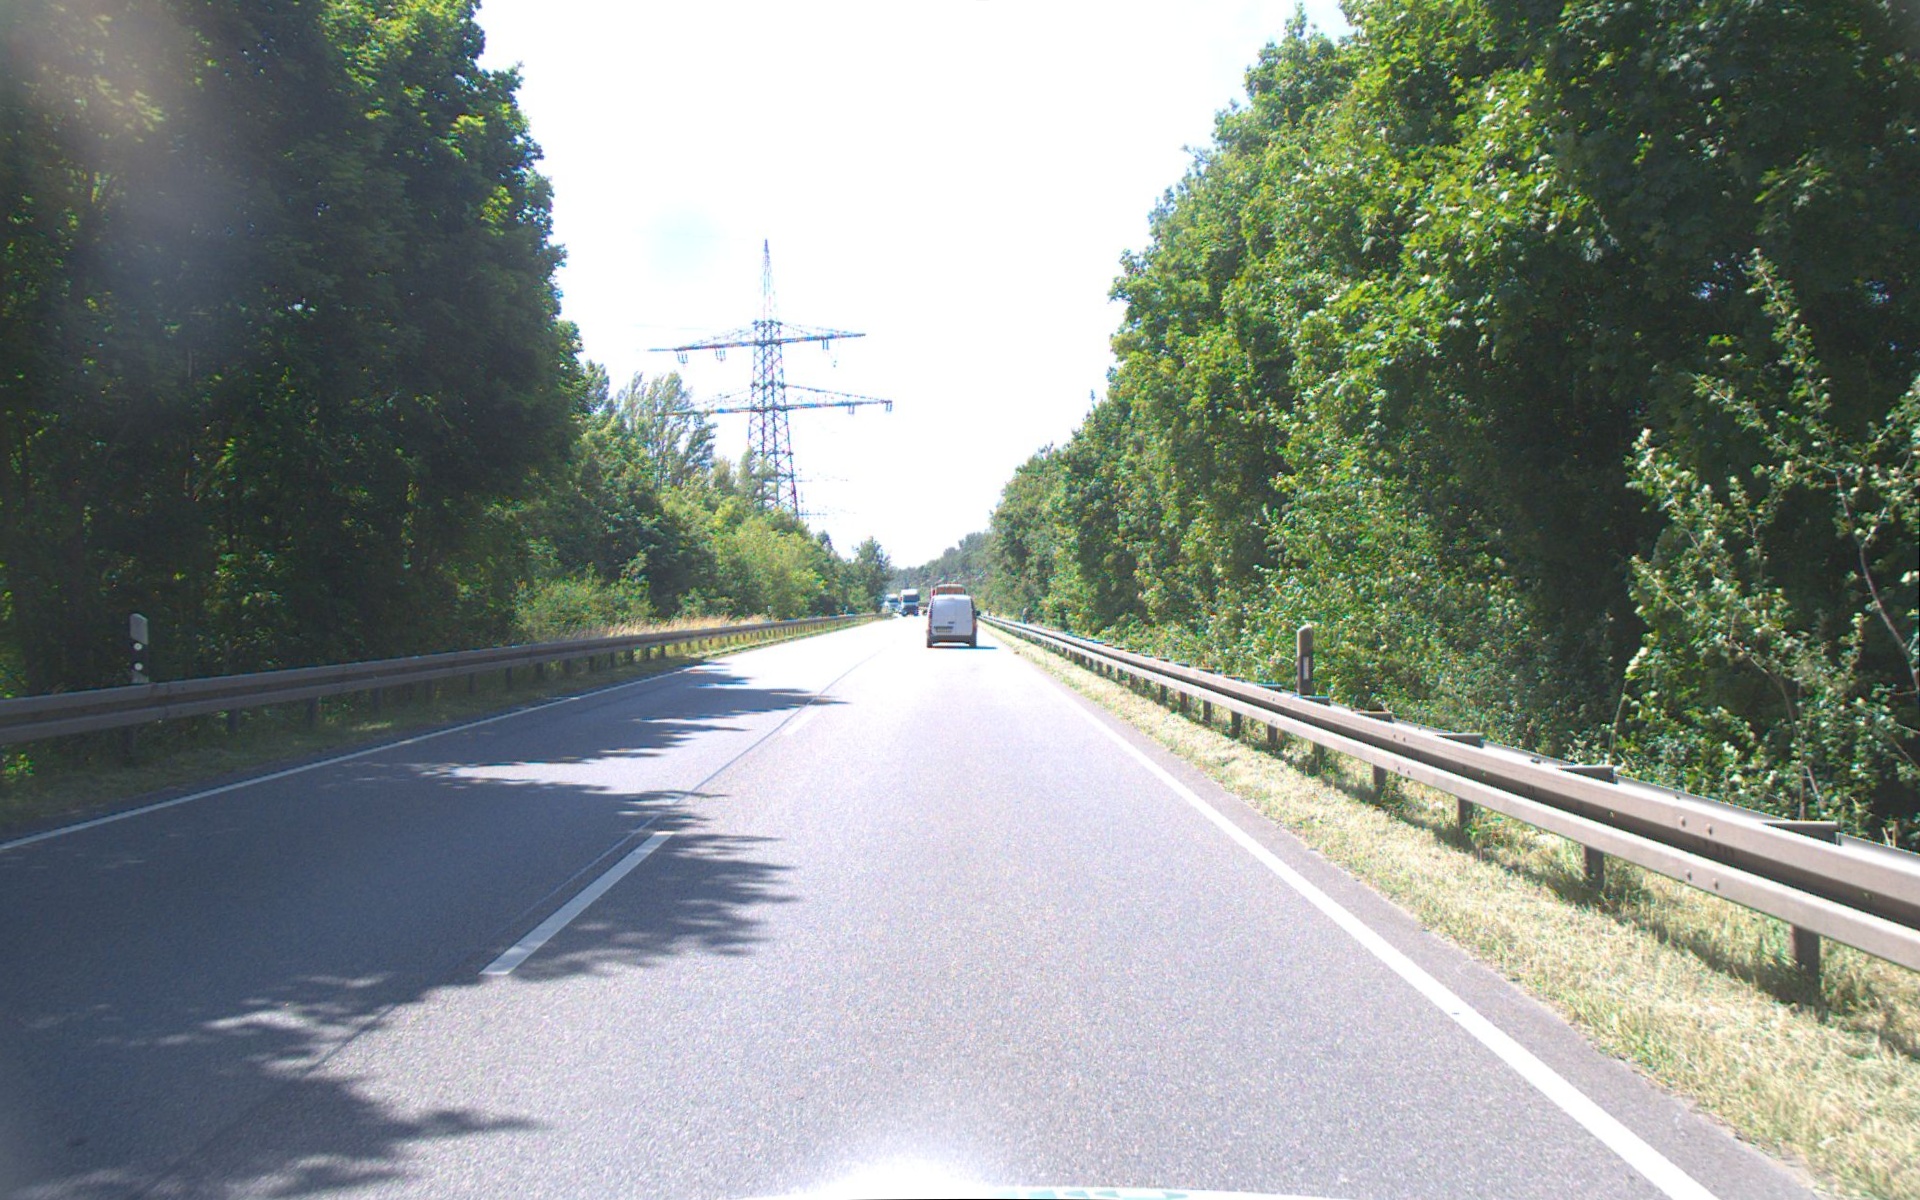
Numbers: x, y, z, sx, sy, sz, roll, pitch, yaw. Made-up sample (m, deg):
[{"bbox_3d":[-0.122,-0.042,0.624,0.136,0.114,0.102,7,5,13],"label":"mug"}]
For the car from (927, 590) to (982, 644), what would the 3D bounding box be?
[{"bbox_3d":[-0.213,0.563,57.519,1.837,1.772,4.000,1,1,-1],"label":"car"}]

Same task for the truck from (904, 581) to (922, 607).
[{"bbox_3d":[-7.265,-0.913,257.914,2.706,4.069,5.906,1,0,-1],"label":"truck"}]

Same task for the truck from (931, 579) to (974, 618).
[{"bbox_3d":[-0.747,-0.206,148.867,3.231,3.227,14.397,1,1,-3],"label":"truck"}]

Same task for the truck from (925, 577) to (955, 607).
[{"bbox_3d":[-2.775,-1.157,222.883,3.334,3.922,16.809,1,1,-3],"label":"truck"}]
